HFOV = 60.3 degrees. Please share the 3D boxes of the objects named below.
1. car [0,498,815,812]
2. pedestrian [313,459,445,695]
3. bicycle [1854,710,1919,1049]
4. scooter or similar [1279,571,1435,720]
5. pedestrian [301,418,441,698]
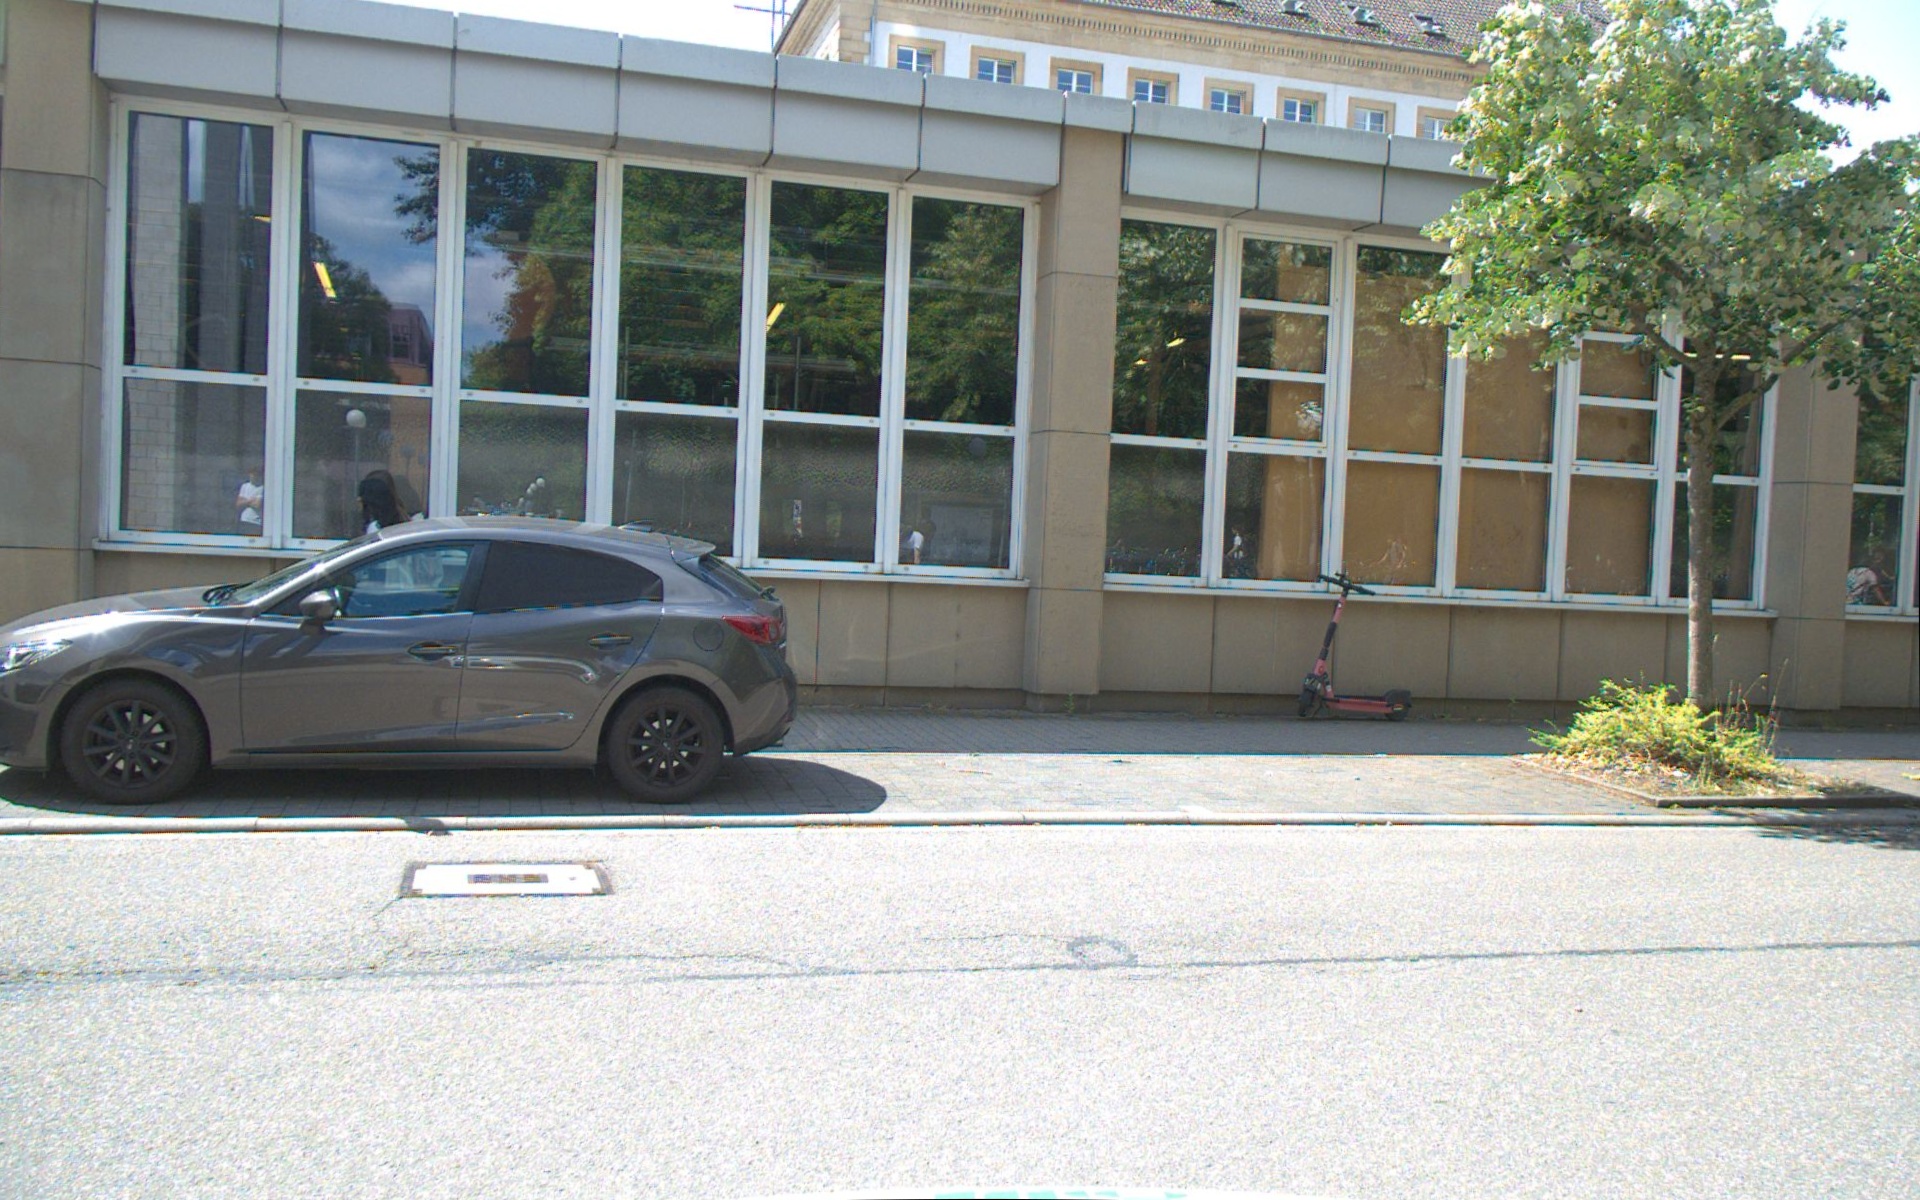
[{"bbox_3d":[-3.059,0.251,9.287,4.207,1.459,1.724,1,4,-17],"label":"car"},{"bbox_3d":[-4.017,-0.160,11.481,0.782,1.568,0.661,2,2,-17],"label":"pedestrian"},{"bbox_3d":[3.897,0.914,5.205,1.872,1.010,0.706,2,4,-15],"label":"bicycle"},{"bbox_3d":[3.401,0.392,14.188,1.222,1.227,0.382,1,4,-17],"label":"scooter or similar"},{"bbox_3d":[-3.839,-0.270,10.827,0.782,1.758,0.599,2,2,-17],"label":"pedestrian"}]
